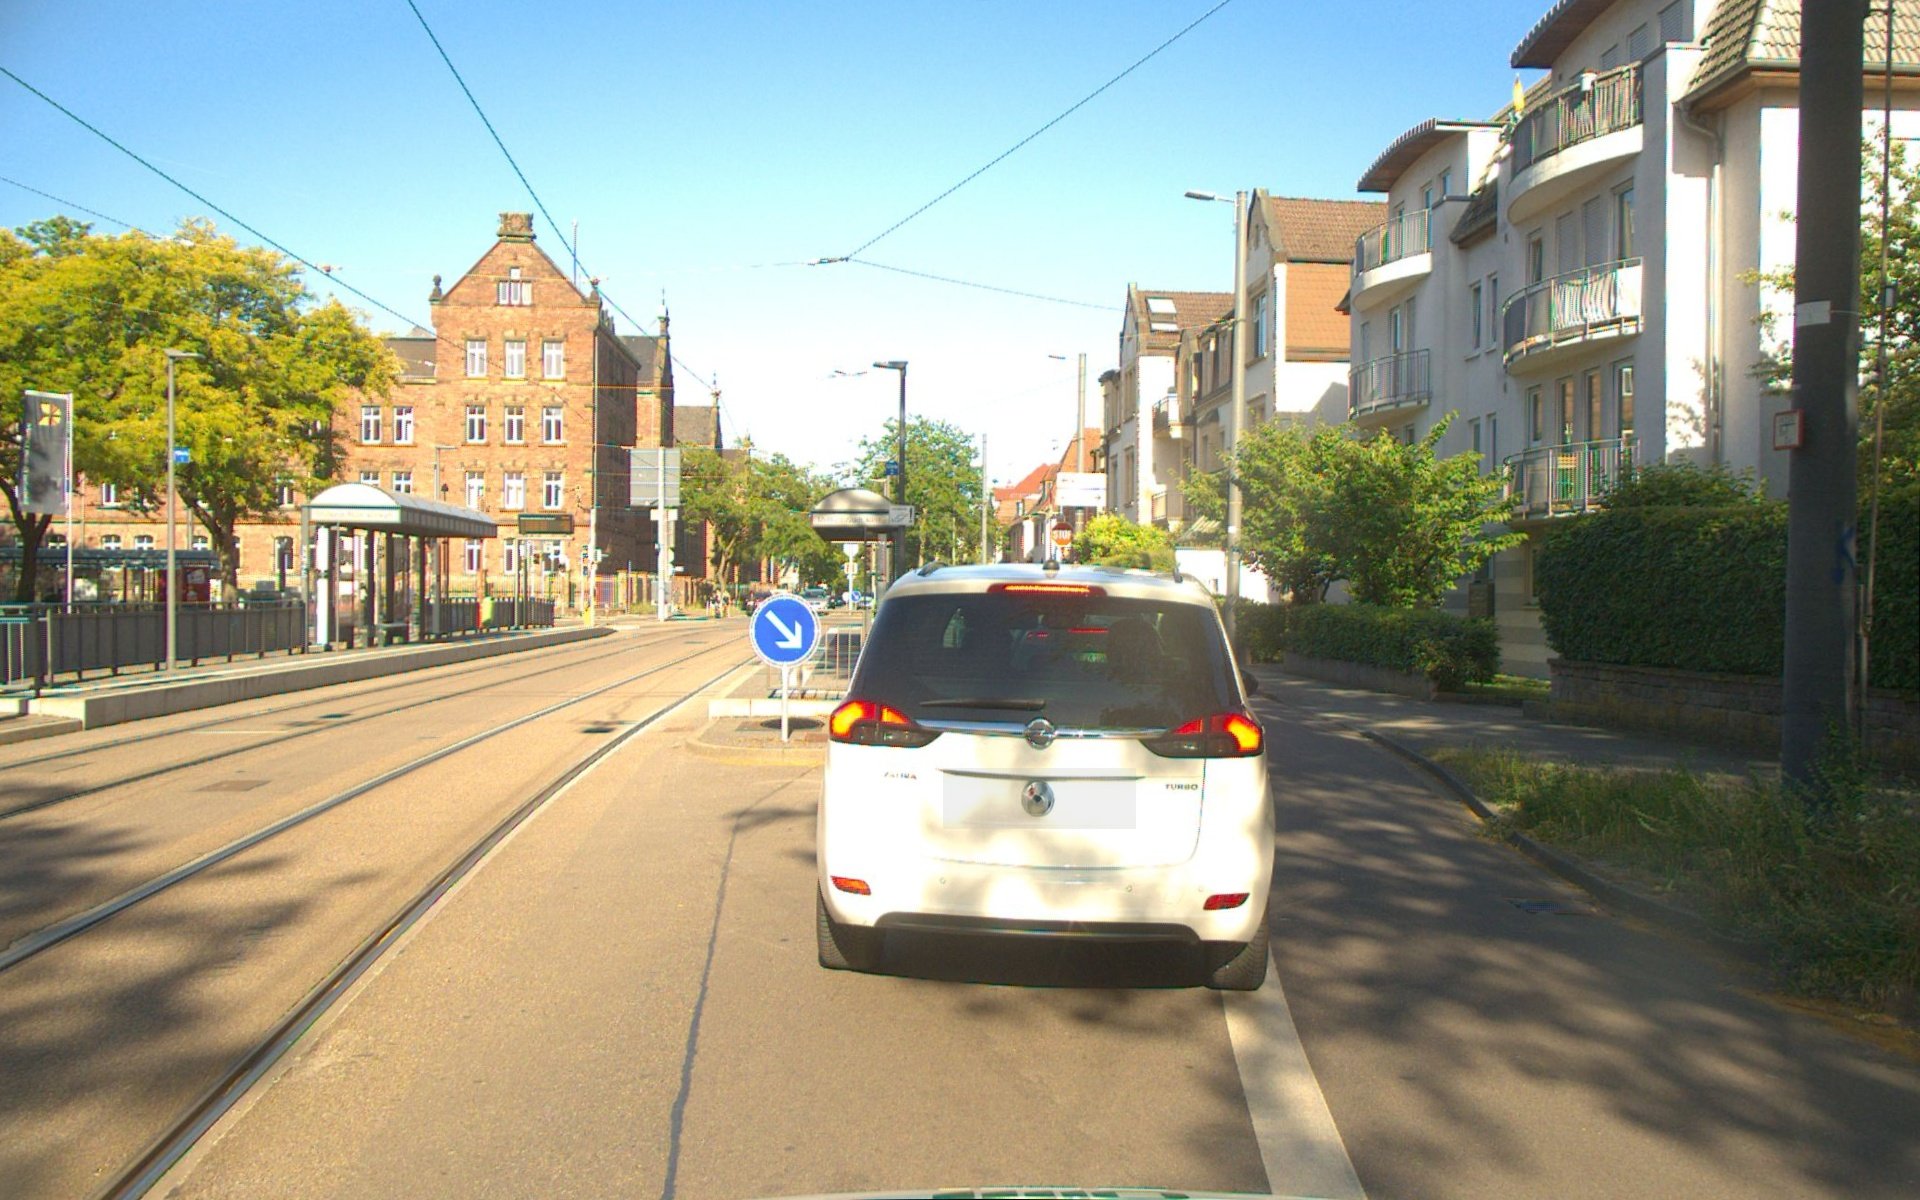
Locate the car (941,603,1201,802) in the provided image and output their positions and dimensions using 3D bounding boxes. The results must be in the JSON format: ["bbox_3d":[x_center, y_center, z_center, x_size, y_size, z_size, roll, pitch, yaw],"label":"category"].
[{"bbox_3d":[1.055,0.771,14.437,1.951,1.468,4.003,0,0,6],"label":"car"}]

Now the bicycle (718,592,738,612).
[{"bbox_3d":[-15.237,0.111,108.616,1.125,1.319,2.858,0,0,-4],"label":"bicycle"}]

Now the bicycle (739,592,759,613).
[{"bbox_3d":[-13.415,0.154,105.348,1.125,1.319,2.858,0,0,-4],"label":"bicycle"}]

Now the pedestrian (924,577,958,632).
[{"bbox_3d":[-0.723,0.178,62.075,1.134,2.049,1.117,0,0,-9],"label":"pedestrian"}]

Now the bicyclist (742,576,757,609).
[{"bbox_3d":[-13.382,-0.477,105.346,0.932,2.049,0.822,0,0,-6],"label":"bicyclist"}]

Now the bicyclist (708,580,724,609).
[{"bbox_3d":[-15.159,-0.336,102.727,0.925,1.765,0.860,0,0,-3],"label":"bicyclist"}]

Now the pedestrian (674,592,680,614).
[{"bbox_3d":[-19.432,0.195,113.570,0.354,1.463,0.549,0,0,-1],"label":"pedestrian"}]

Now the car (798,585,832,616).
[{"bbox_3d":[-9.377,0.039,107.172,1.953,1.947,3.998,0,0,-2],"label":"car"}]

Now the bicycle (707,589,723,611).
[{"bbox_3d":[-15.155,-0.004,102.438,0.805,1.319,2.675,0,0,-4],"label":"bicycle"}]

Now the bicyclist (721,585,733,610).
[{"bbox_3d":[-15.326,-0.165,108.883,0.688,1.635,0.657,0,0,-3],"label":"bicyclist"}]

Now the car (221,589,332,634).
[{"bbox_3d":[-28.803,0.492,69.795,3.911,1.821,1.997,1,1,-8],"label":"car"}]

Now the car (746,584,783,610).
[{"bbox_3d":[-13.435,-0.193,113.588,1.952,1.752,4.001,0,0,2],"label":"car"}]

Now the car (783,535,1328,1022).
[{"bbox_3d":[0.497,0.658,7.765,1.852,1.639,4.231,0,-2,5],"label":"car"}]

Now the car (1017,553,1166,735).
[{"bbox_3d":[1.706,0.490,20.588,1.672,2.049,3.909,0,0,7],"label":"car"}]
